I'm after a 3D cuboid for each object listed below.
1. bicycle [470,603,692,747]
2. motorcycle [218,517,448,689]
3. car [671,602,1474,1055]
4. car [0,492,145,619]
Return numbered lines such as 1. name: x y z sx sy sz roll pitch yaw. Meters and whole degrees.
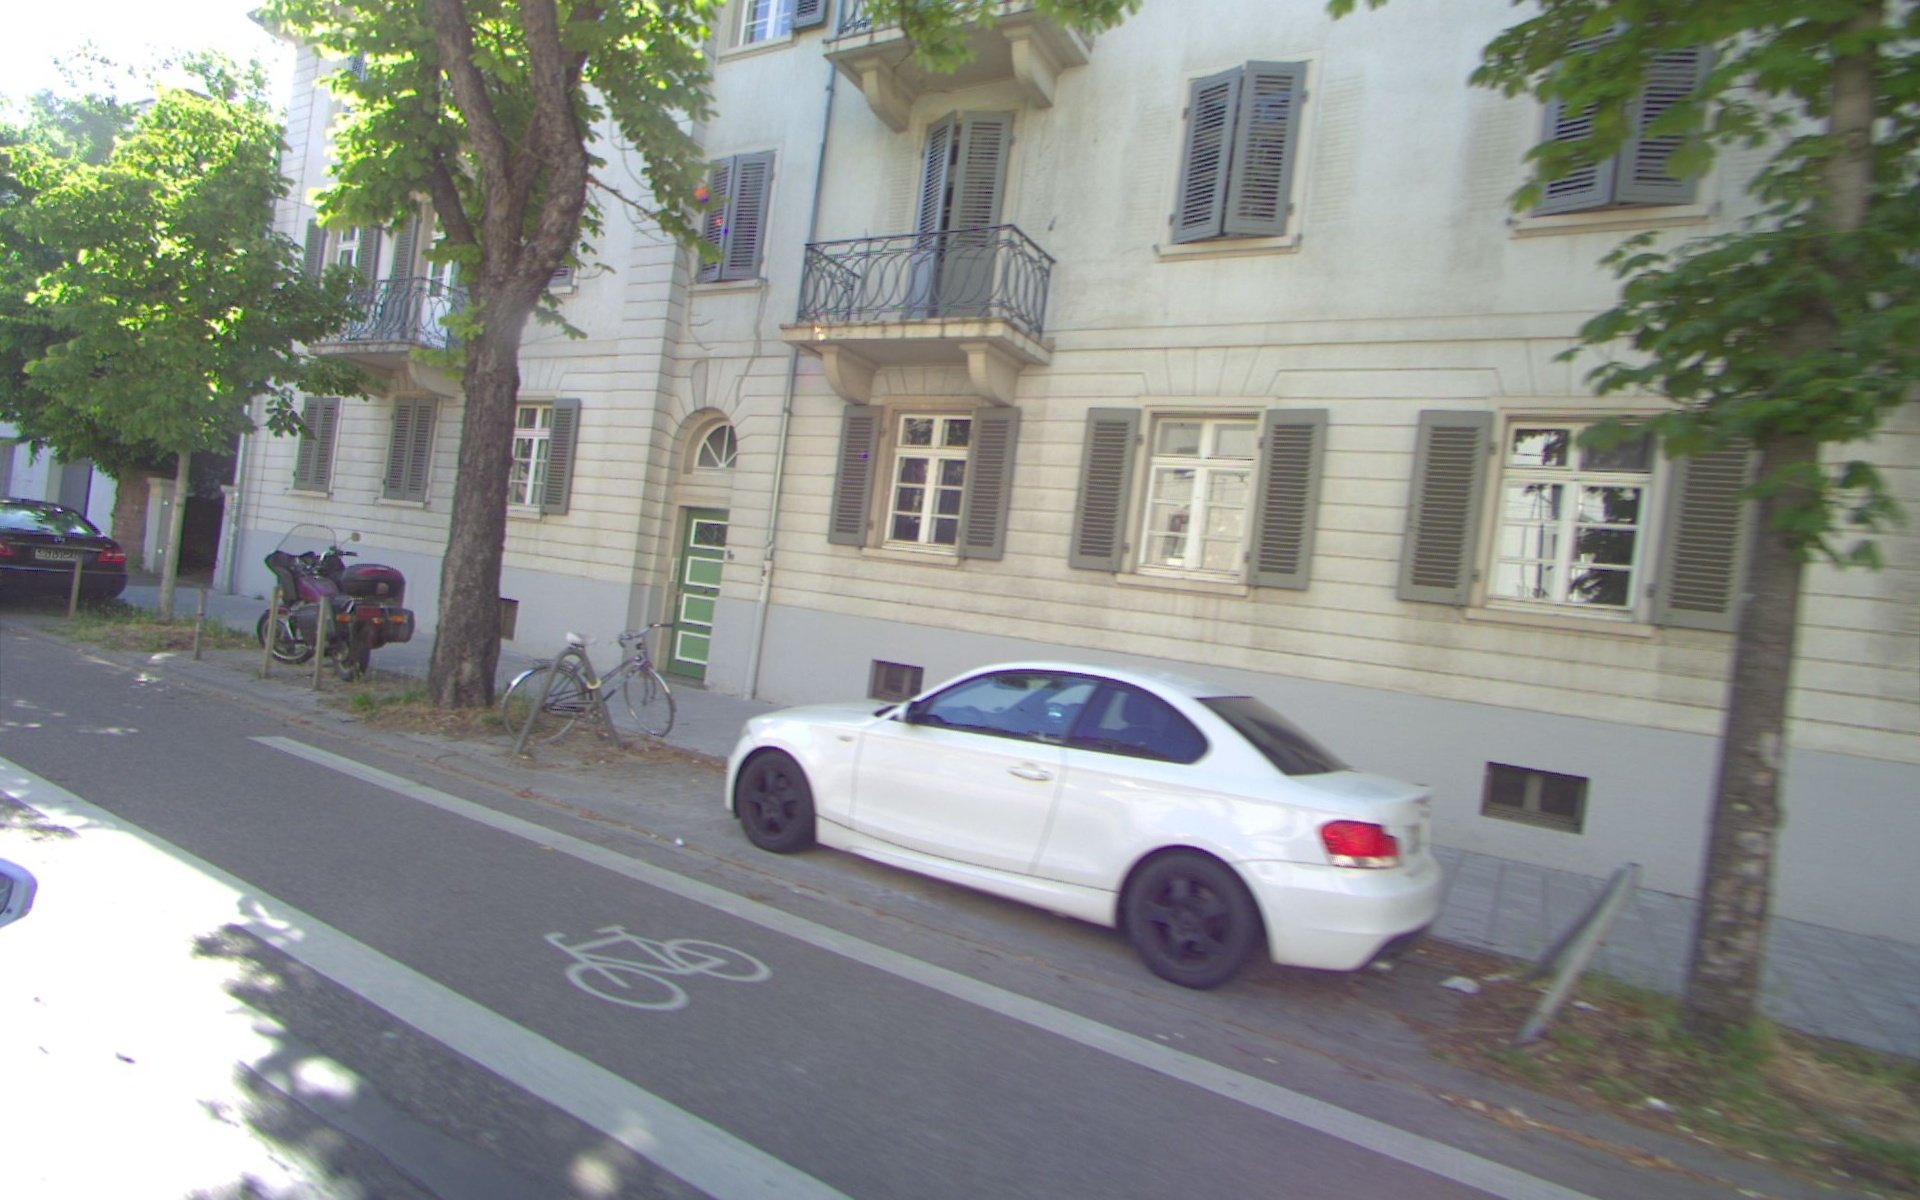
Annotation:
1. bicycle: -3.193 0.639 8.630 0.674 1.056 1.621 7 0 32
2. motorcycle: -6.680 0.000 10.648 2.635 1.507 0.914 7 1 32
3. car: 0.488 0.988 5.946 4.284 1.399 1.725 7 0 33
4. car: -13.598 -0.786 13.897 4.734 1.476 1.825 7 0 28
